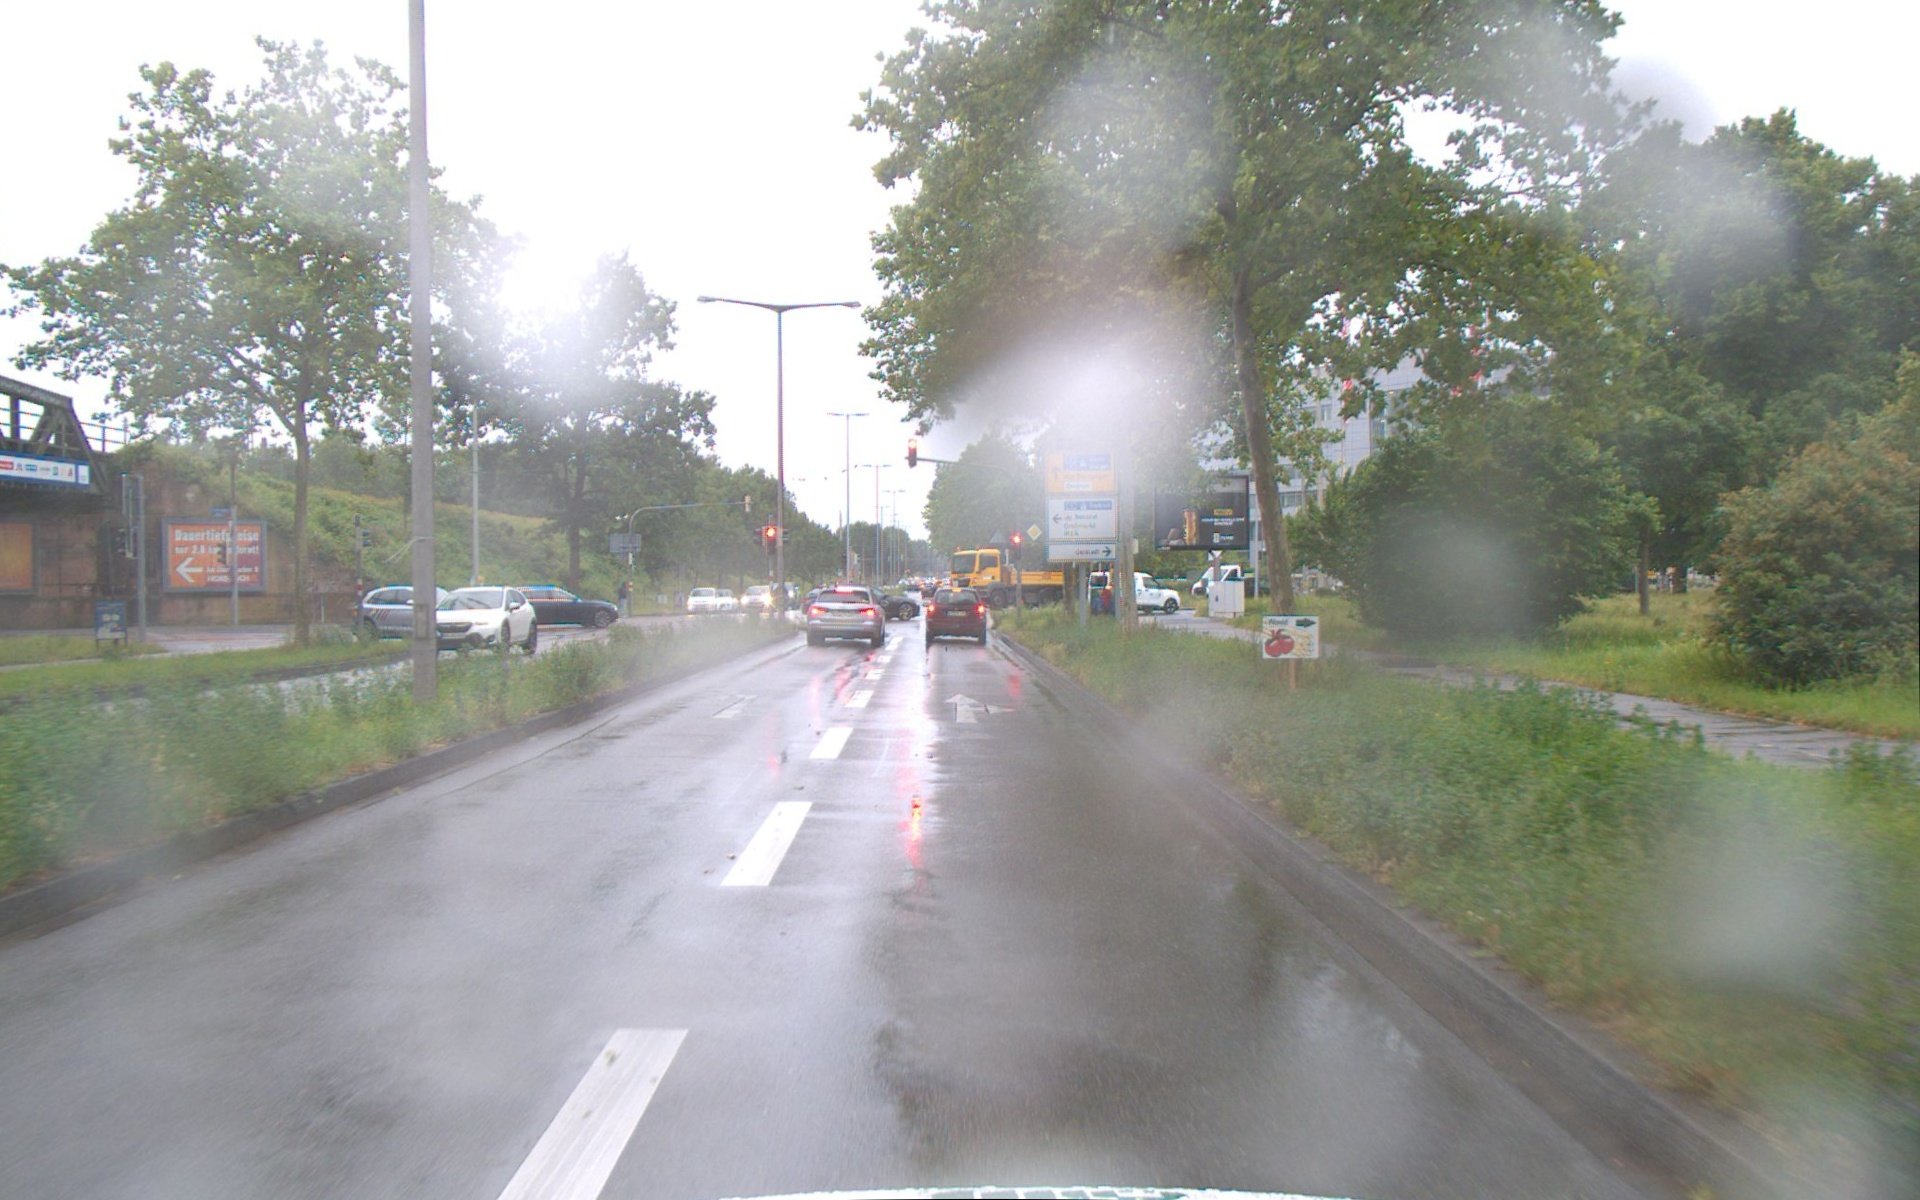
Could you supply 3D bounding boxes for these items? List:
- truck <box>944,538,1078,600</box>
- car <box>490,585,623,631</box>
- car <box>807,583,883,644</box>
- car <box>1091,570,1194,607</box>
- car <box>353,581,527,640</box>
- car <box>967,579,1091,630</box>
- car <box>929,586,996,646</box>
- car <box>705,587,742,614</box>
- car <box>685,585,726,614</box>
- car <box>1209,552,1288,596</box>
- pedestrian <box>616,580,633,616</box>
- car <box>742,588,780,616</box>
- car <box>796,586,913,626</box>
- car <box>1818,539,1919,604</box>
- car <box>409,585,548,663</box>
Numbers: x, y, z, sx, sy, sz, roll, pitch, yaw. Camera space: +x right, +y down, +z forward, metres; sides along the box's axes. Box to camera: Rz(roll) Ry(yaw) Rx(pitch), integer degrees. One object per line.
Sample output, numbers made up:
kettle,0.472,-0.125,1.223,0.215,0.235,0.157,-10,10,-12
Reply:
truck,2.695,-1.573,86.293,6.976,3.107,2.611,-1,0,-38
car,-14.392,0.263,59.046,4.326,1.564,1.784,-1,0,-30
car,-2.881,0.317,42.154,1.655,1.458,4.573,0,0,-1
car,8.019,-0.508,72.564,4.326,1.564,1.784,-1,0,-30
car,-14.764,0.299,47.004,4.408,1.617,1.864,-1,0,16
car,2.478,0.121,58.834,4.348,1.563,1.776,-4,3,-41
car,0.046,0.419,46.149,1.759,1.564,4.386,1,0,-1
car,-14.191,0.010,99.352,1.677,1.557,4.000,-1,0,-1
car,-14.256,-0.028,92.813,1.677,1.557,4.000,-1,0,-1
car,16.074,-1.428,92.004,4.338,2.228,1.780,-4,2,-36
pedestrian,-16.964,-0.101,83.624,0.522,1.817,0.673,1,-1,17
car,-11.299,0.113,94.062,1.677,1.557,4.000,-1,0,-1
car,-4.168,0.228,65.559,4.326,1.564,1.784,0,0,-30
car,32.895,-0.986,57.827,1.790,2.191,4.843,0,0,-41
car,-10.678,0.500,36.999,1.819,1.617,4.518,-1,0,-1
